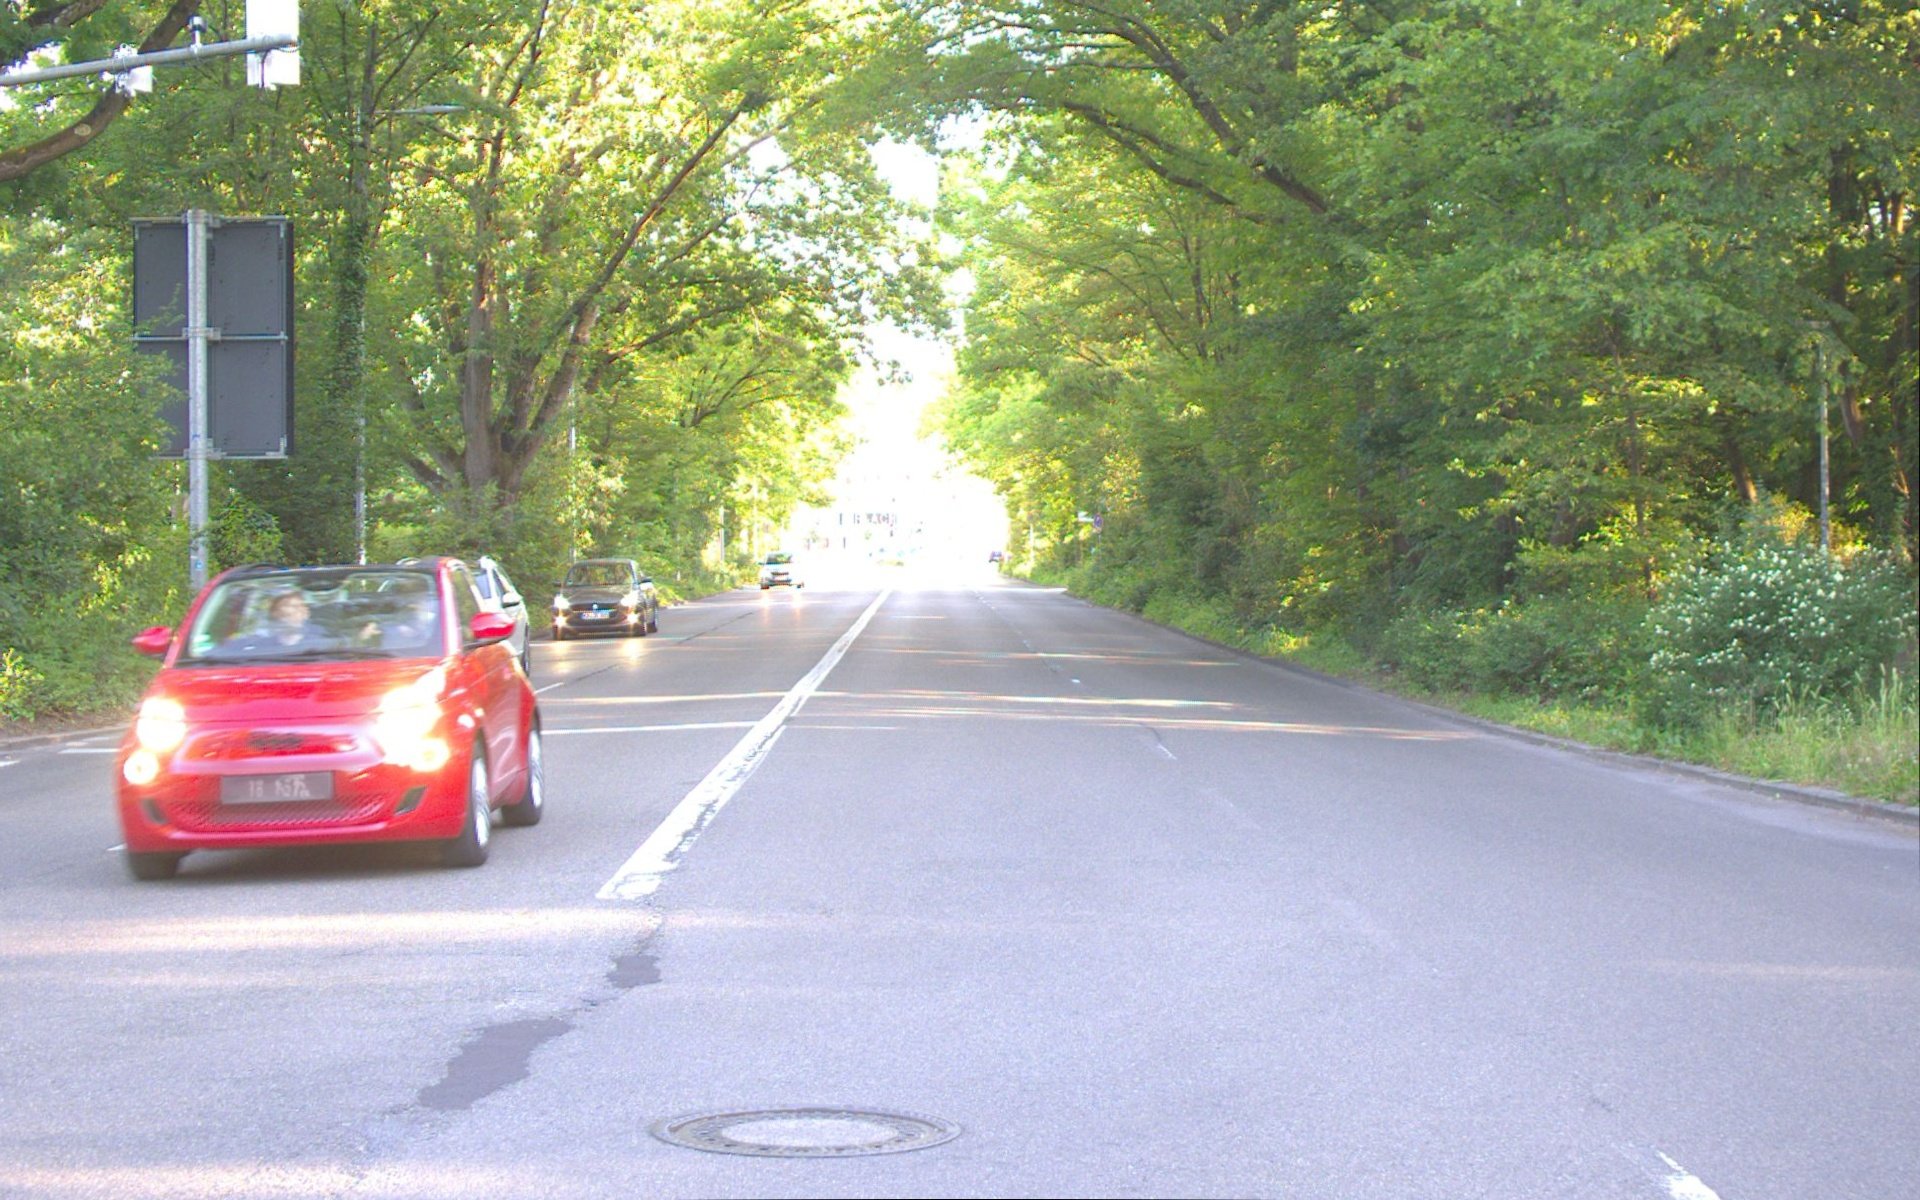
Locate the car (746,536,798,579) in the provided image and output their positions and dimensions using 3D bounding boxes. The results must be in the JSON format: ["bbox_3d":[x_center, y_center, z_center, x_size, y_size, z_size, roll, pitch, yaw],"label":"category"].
[{"bbox_3d":[-7.427,-1.692,136.135,1.806,1.574,4.319,-2,1,-1],"label":"car"}]

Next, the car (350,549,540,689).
[{"bbox_3d":[-6.120,0.188,41.209,1.677,1.518,3.902,-2,1,-1],"label":"car"}]

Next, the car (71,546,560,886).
[{"bbox_3d":[-3.107,0.525,17.256,1.750,1.451,3.640,-2,0,-1],"label":"car"}]

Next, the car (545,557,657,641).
[{"bbox_3d":[-6.719,-0.043,64.602,1.707,1.448,3.640,-2,1,-1],"label":"car"}]
